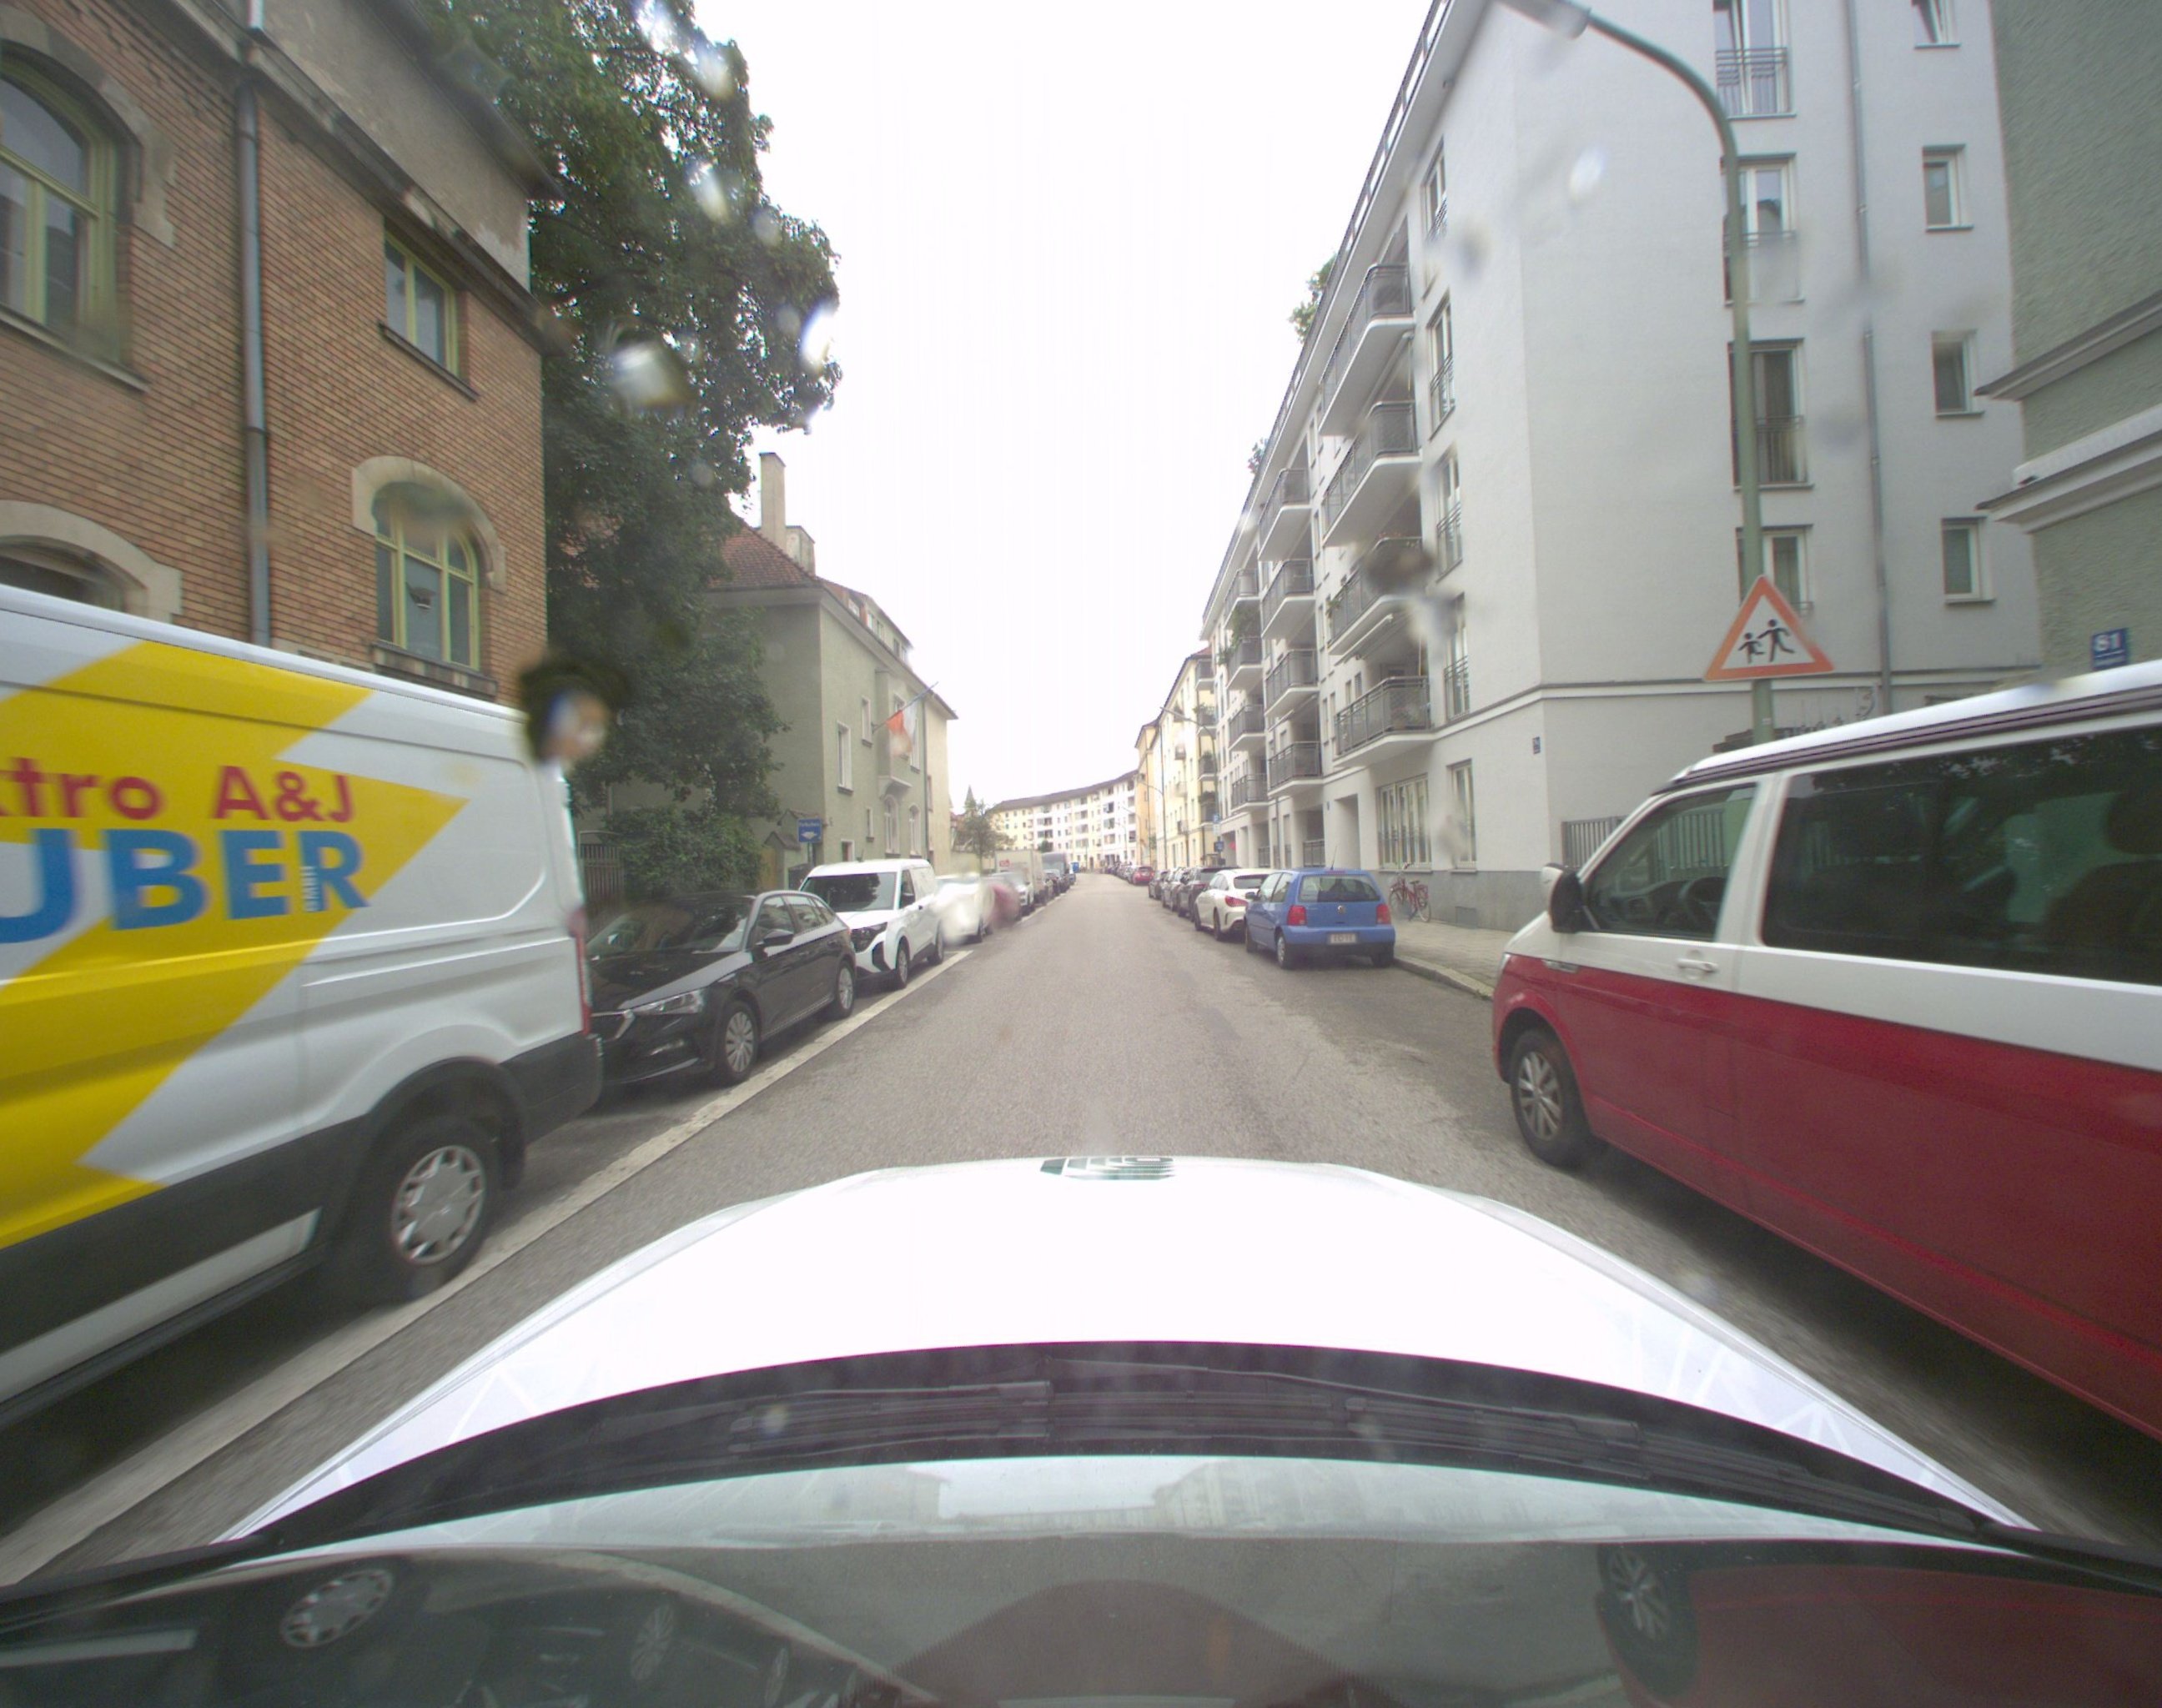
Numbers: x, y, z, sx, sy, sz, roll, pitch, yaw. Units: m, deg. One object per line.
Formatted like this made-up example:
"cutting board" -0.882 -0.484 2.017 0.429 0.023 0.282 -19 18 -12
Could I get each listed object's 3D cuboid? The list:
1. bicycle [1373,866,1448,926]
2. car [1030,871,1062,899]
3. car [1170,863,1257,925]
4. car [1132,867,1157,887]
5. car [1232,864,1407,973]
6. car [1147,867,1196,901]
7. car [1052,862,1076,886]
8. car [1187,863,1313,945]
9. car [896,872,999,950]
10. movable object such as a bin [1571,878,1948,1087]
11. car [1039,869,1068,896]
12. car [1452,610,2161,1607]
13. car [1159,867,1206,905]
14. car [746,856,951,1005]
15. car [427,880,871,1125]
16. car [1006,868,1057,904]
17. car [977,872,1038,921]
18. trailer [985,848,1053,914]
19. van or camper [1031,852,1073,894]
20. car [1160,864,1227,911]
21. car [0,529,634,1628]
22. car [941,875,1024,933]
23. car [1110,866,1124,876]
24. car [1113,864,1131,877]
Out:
"bicycle" 6.849 0.843 17.040 0.799 1.172 1.974 -1 -1 2
"car" -2.010 1.759 47.001 1.671 1.436 4.283 -4 -1 -2
"car" 3.712 1.075 23.508 1.831 1.533 4.021 -3 -1 1
"car" 4.894 1.733 63.038 1.649 1.430 3.755 -1 -1 0
"car" 3.597 0.901 12.949 1.709 1.423 3.719 -2 -1 1
"car" 4.252 1.386 38.713 1.766 1.476 4.215 -1 -1 -1
"car" -1.457 1.651 69.754 1.910 1.960 4.956 -1 -1 -3
"car" 3.448 1.004 17.405 1.659 1.467 4.373 -2 -2 -1
"car" -2.907 1.212 18.428 1.621 1.468 3.521 -3 -1 1
"movable object such as a bin" 4.868 0.830 6.149 1.017 1.193 2.164 -4 -1 2
"car" -1.755 1.783 51.600 1.649 1.497 3.905 -3 -1 -2
"car" 3.142 0.517 2.563 1.847 2.031 4.784 -1 -1 1
"car" 4.241 1.312 34.592 1.611 1.467 3.747 -1 -1 1
"car" -3.205 0.958 12.174 1.709 1.756 4.250 -3 -1 1
"car" -3.371 1.041 7.421 1.709 1.420 4.166 -3 -1 1
"car" -2.363 1.511 40.103 1.856 1.542 5.095 -3 -1 3
"car" -2.571 1.466 29.286 1.673 1.530 4.107 -3 -1 1
"trailer" -2.537 1.098 34.411 1.967 2.471 4.582 -5 -1 4
"van or camper" -1.941 1.309 56.645 2.284 2.651 5.564 -4 -1 2
"car" 3.934 1.133 29.097 1.785 1.482 4.603 -1 -1 1
"car" -3.510 0.531 1.699 2.104 2.476 5.231 -3 -1 1
"car" -2.752 1.378 23.697 1.740 1.368 4.403 -3 -1 1
"car" 5.220 2.464 118.929 1.627 1.417 3.675 -1 -1 -3
"car" 5.457 2.202 108.905 2.162 1.739 5.024 -1 -1 0
